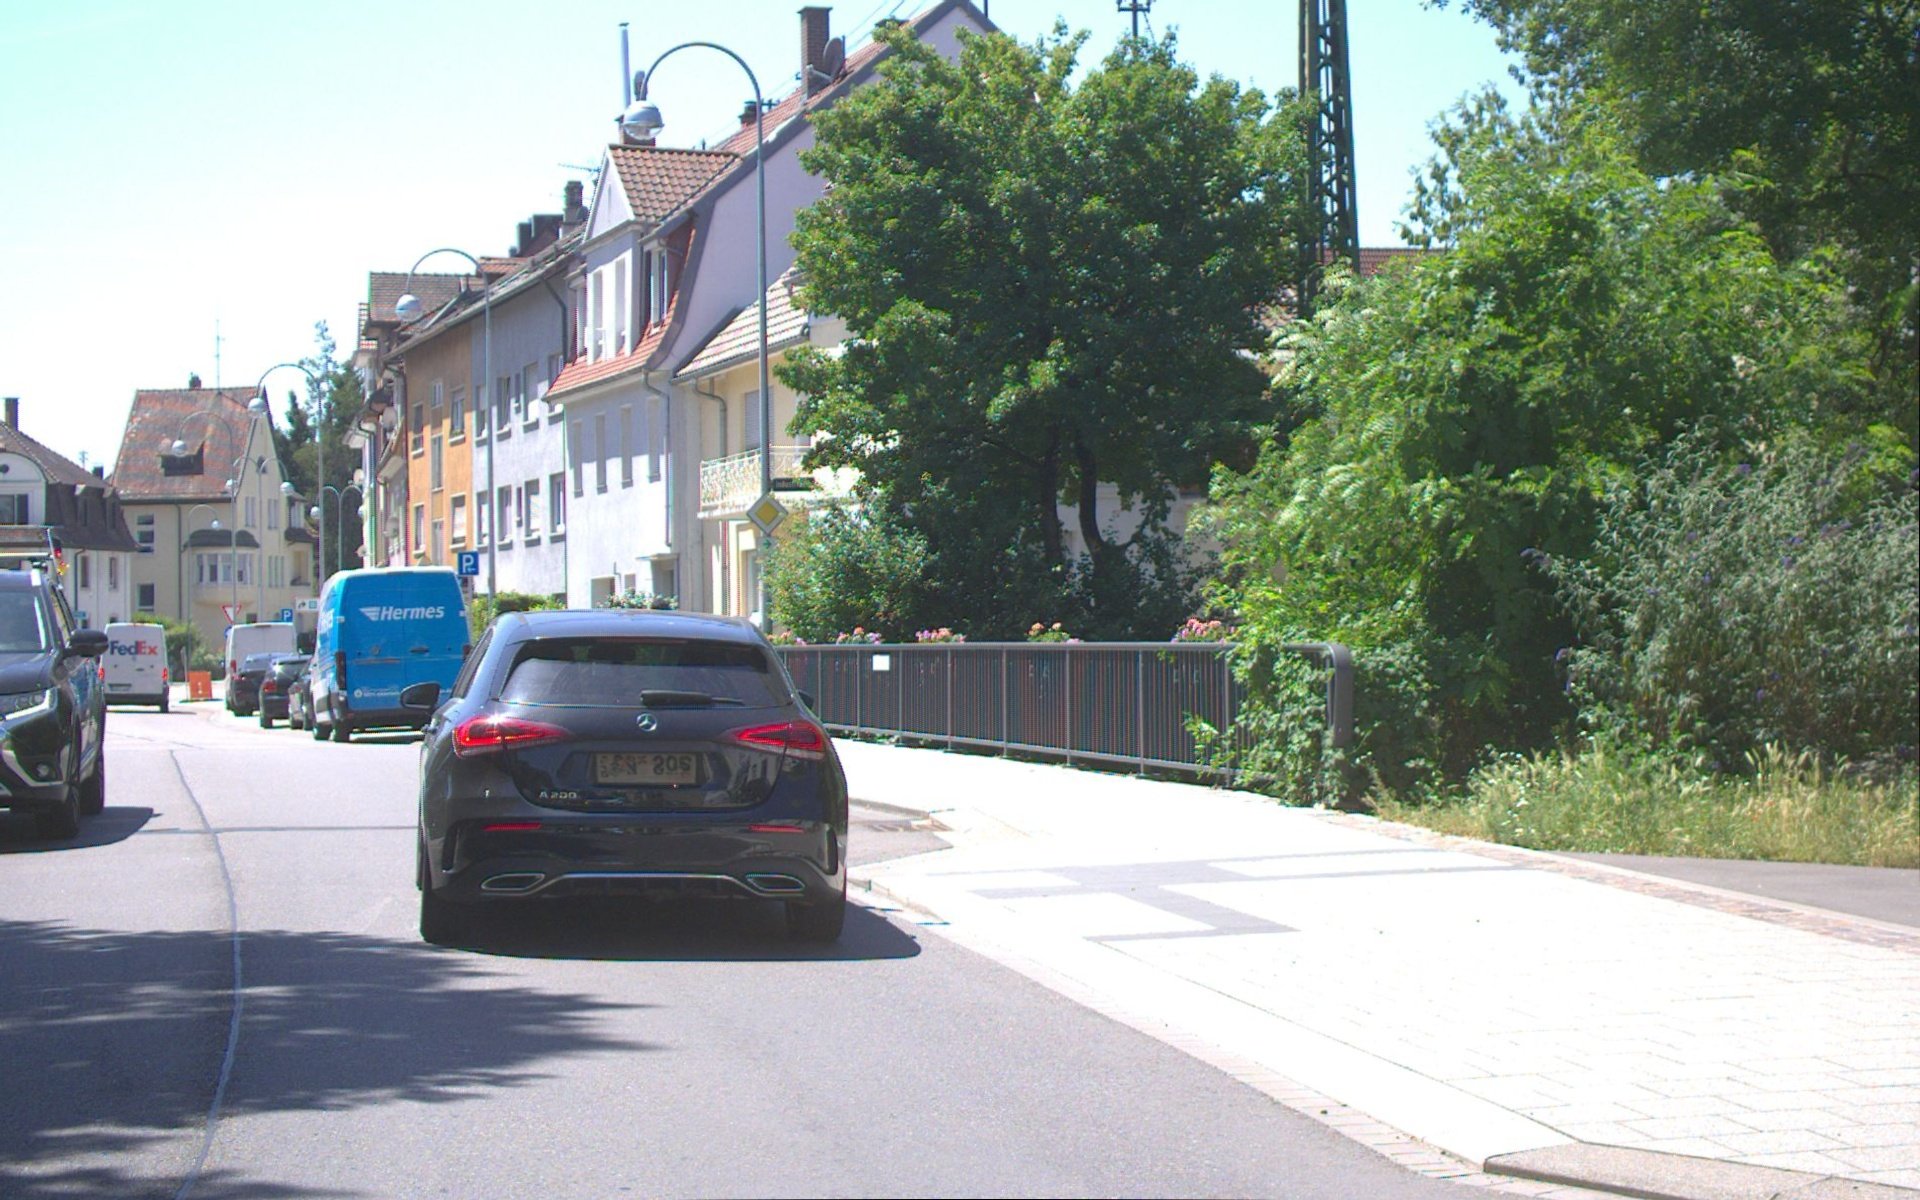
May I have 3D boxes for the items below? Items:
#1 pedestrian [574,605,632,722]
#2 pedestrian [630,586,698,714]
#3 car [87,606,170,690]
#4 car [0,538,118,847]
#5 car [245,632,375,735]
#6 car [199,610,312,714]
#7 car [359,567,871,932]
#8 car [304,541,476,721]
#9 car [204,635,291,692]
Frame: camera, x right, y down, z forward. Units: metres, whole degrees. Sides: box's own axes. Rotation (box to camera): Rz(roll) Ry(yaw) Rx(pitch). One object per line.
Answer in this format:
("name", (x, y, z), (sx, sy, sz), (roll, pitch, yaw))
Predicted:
("pedestrian", (-4.968, 0.884, 47.798), (0.613, 1.607, 0.838), (0, -1, -19))
("pedestrian", (-4.053, 0.682, 47.042), (0.660, 1.735, 0.702), (0, -1, -32))
("car", (-24.351, 1.384, 100.584), (2.244, 2.335, 4.854), (0, 1, -15))
("car", (-6.433, 0.552, 21.814), (1.740, 1.766, 4.339), (-2, 0, -9))
("car", (-11.946, 1.502, 63.000), (1.993, 1.740, 4.330), (0, 0, -15))
("car", (-14.387, 1.234, 70.080), (1.993, 2.007, 4.001), (0, 0, -15))
("car", (-1.721, 0.688, 15.838), (1.827, 1.437, 4.000), (-1, -3, -13))
("car", (-8.499, 0.455, 50.985), (2.132, 2.533, 4.650), (0, -1, -14))
("car", (-18.868, 1.648, 90.901), (1.993, 1.387, 4.330), (0, 0, -15))
